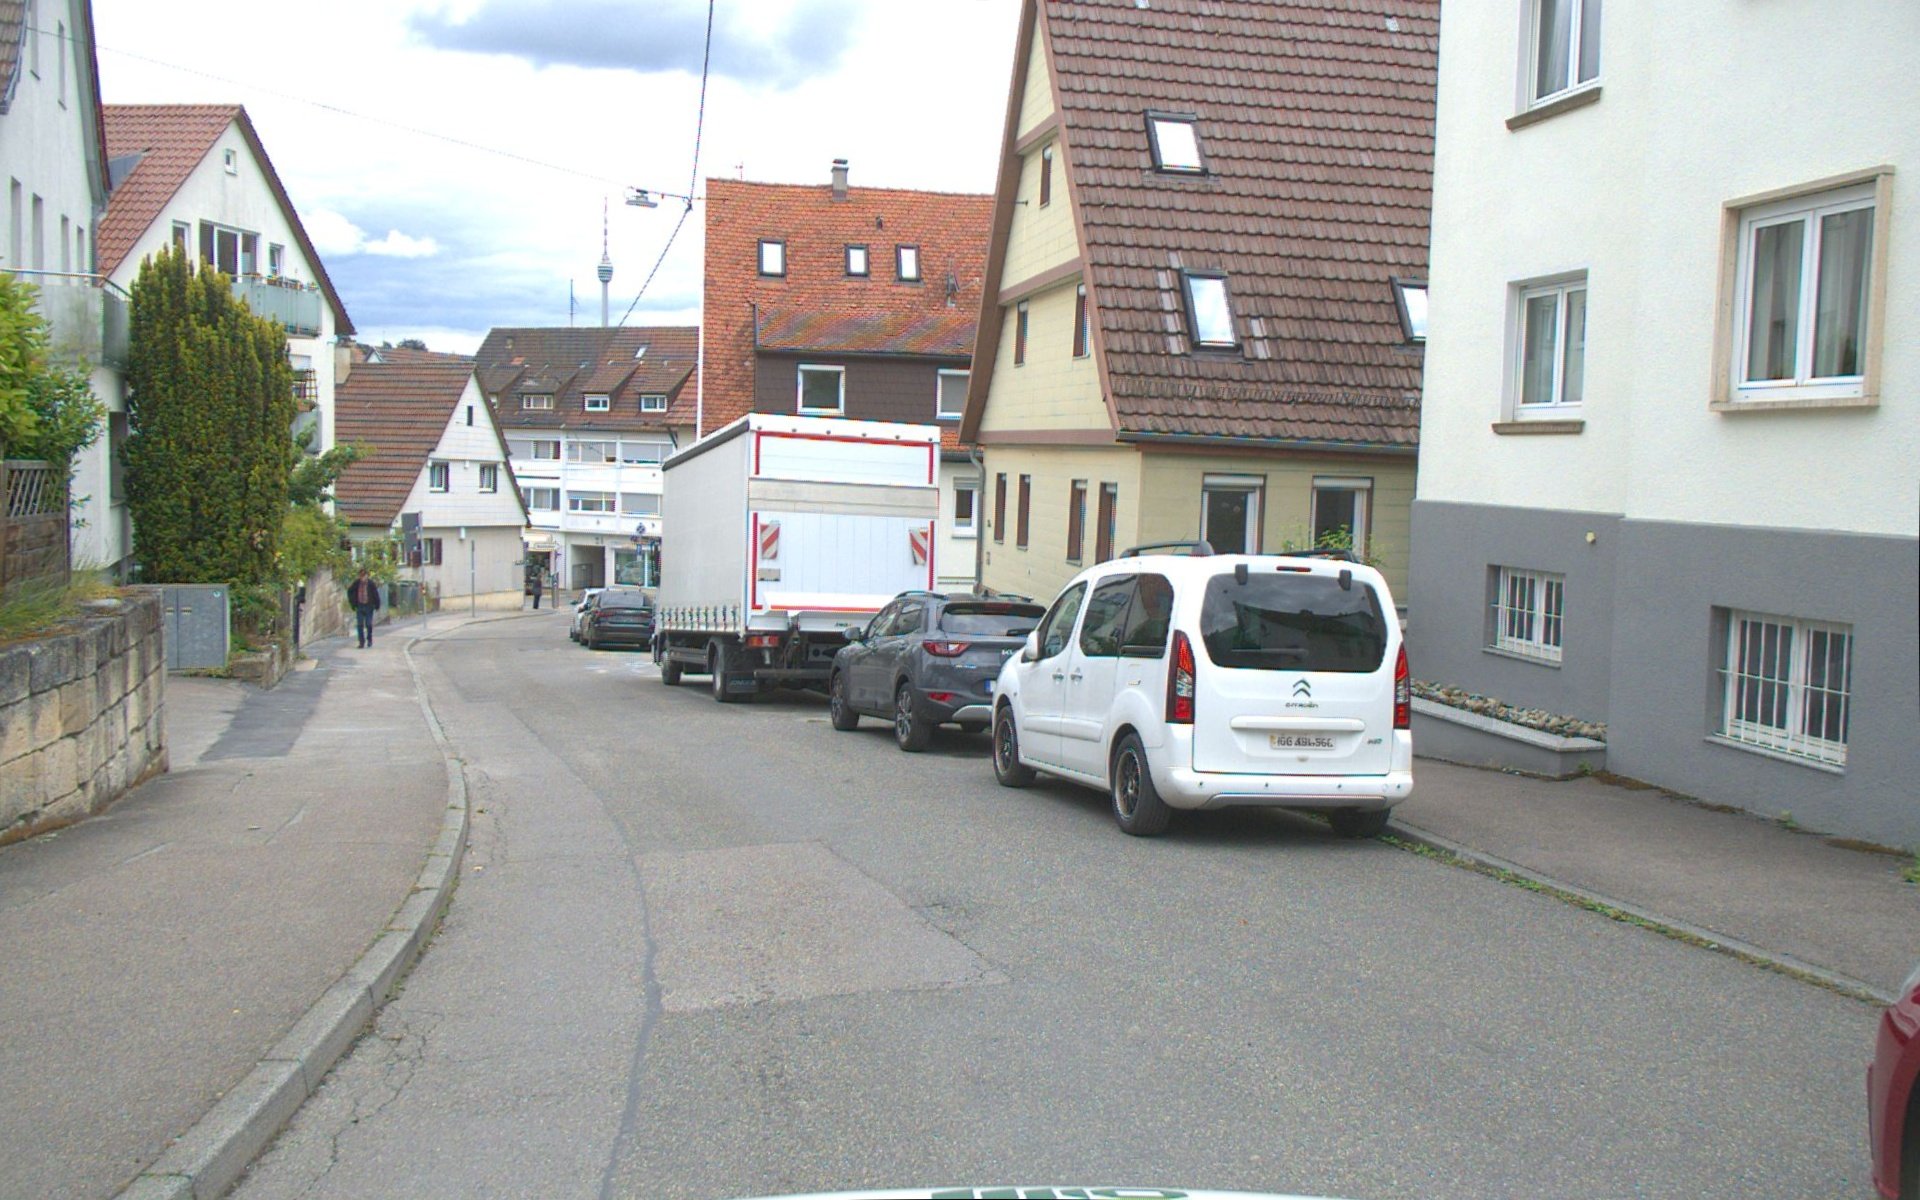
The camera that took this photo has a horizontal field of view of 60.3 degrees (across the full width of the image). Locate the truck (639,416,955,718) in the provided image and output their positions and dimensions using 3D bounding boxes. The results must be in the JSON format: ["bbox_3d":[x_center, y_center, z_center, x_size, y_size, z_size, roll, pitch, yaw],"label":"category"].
[{"bbox_3d":[-2.703,-0.421,24.277,2.637,3.660,8.057,1,0,-20],"label":"truck"}]

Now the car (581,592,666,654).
[{"bbox_3d":[-8.493,0.553,41.516,1.647,1.433,4.031,2,0,-18],"label":"car"}]

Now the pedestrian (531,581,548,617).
[{"bbox_3d":[-20.246,-0.040,79.607,0.639,1.714,0.599,1,2,-27],"label":"pedestrian"}]

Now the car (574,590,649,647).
[{"bbox_3d":[-9.881,0.497,46.697,1.765,1.471,4.280,2,0,-15],"label":"car"}]

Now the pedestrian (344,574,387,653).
[{"bbox_3d":[-13.294,0.301,36.992,0.827,1.707,0.971,3,-1,-20],"label":"pedestrian"}]

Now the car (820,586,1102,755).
[{"bbox_3d":[-0.129,0.676,17.224,1.706,1.532,4.029,2,-1,-19],"label":"car"}]

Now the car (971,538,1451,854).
[{"bbox_3d":[1.557,0.577,11.979,1.805,1.846,4.286,2,0,-16],"label":"car"}]

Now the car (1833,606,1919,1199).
[{"bbox_3d":[3.087,0.790,2.025,1.647,1.477,3.846,2,0,-7],"label":"car"}]

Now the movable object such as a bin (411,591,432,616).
[{"bbox_3d":[-20.487,0.135,62.964,0.515,0.899,0.490,4,-1,16],"label":"movable object such as a bin"}]

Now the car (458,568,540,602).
[{"bbox_3d":[-26.139,-0.879,93.828,4.269,1.810,1.946,2,2,26],"label":"car"}]
